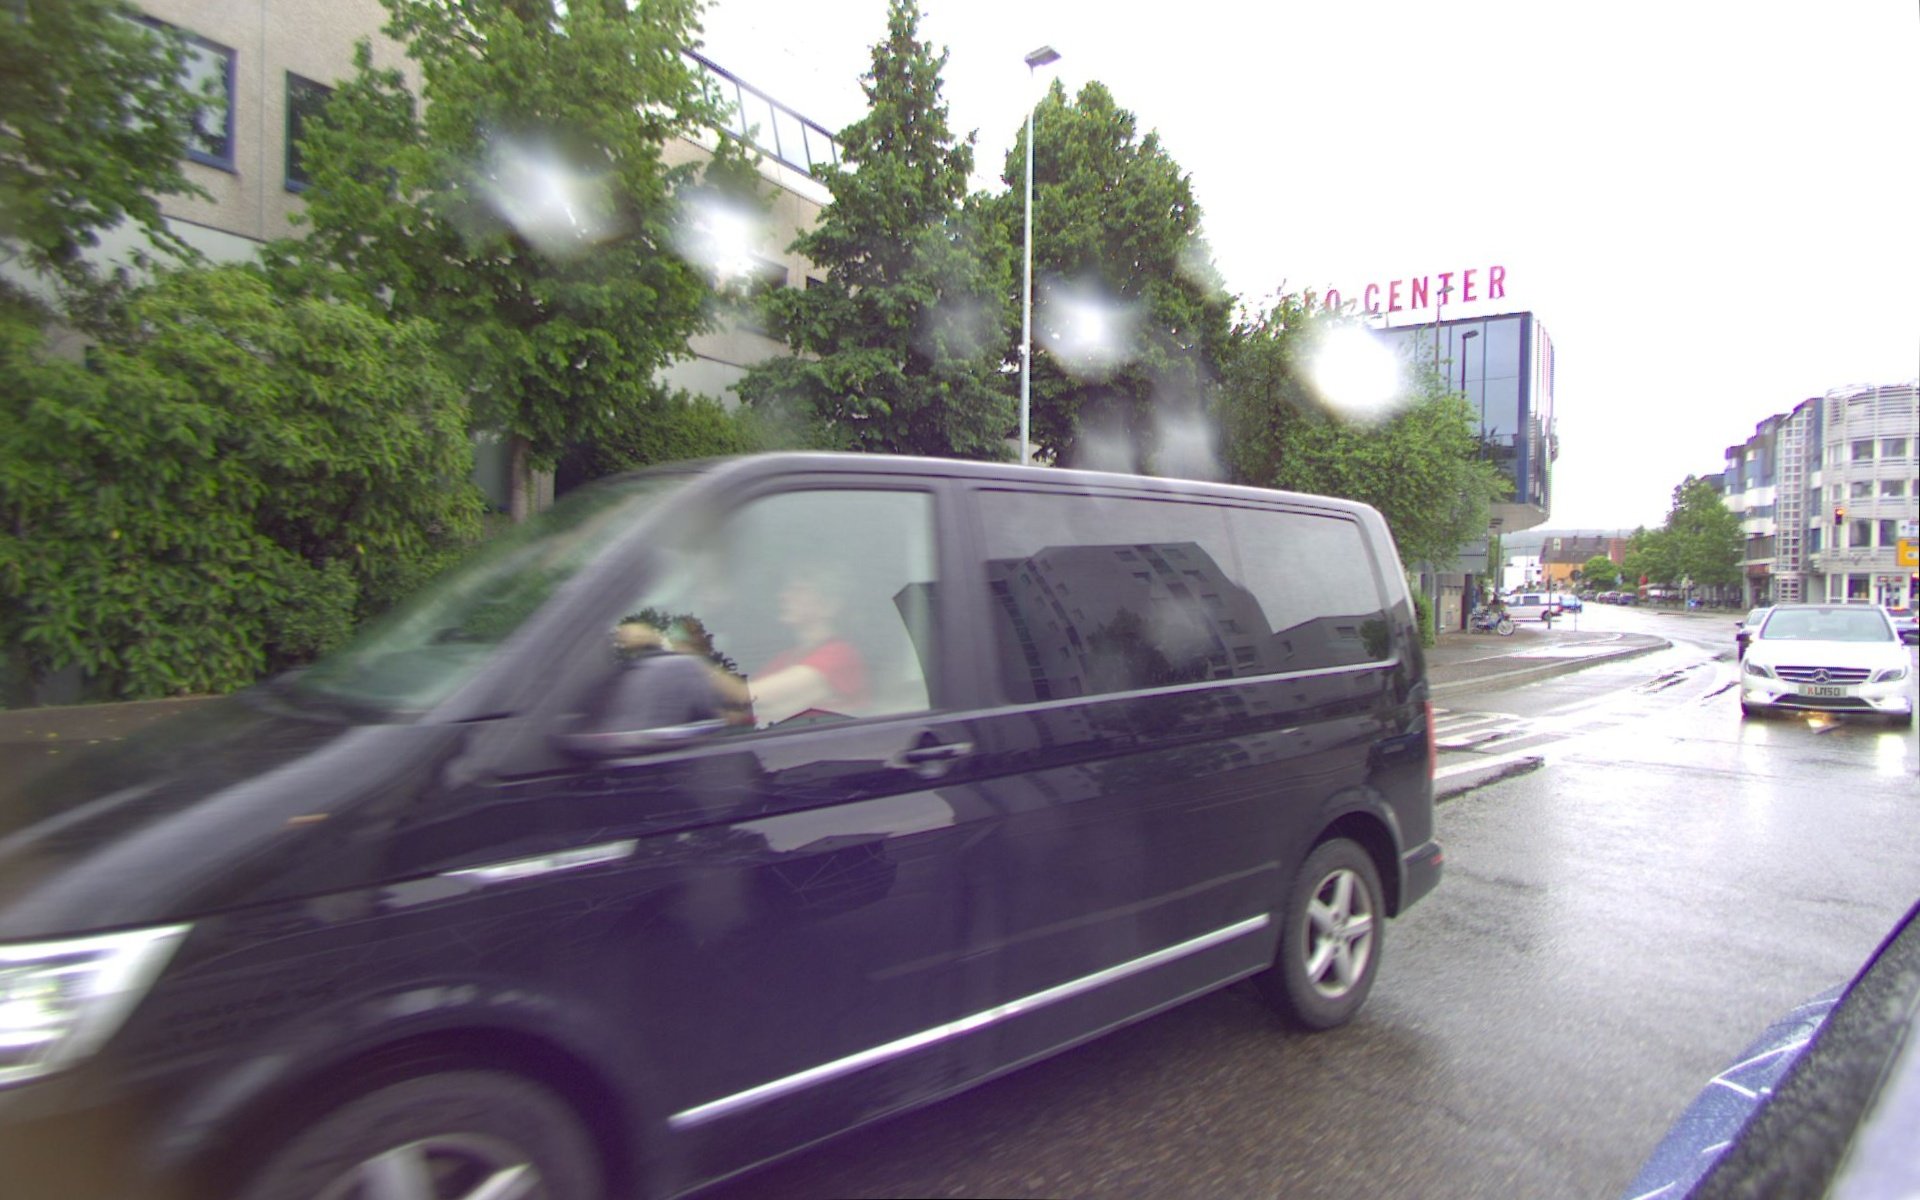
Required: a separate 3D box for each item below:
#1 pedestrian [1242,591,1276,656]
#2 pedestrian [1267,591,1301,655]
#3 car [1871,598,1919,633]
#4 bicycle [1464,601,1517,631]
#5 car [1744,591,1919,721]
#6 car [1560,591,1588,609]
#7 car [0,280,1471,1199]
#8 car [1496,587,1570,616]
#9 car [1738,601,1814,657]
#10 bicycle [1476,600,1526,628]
[{"bbox_3d":[6.604,0.517,22.397,0.532,1.382,0.412,2,1,-11],"label":"pedestrian"},{"bbox_3d":[7.215,0.509,22.520,0.532,1.382,0.412,2,1,-10],"label":"pedestrian"},{"bbox_3d":[41.091,0.663,43.781,1.749,1.470,3.956,0,0,31],"label":"car"},{"bbox_3d":[21.783,0.658,41.544,1.797,1.099,0.675,3,-4,36],"label":"bicycle"},{"bbox_3d":[12.556,0.673,14.335,4.256,1.569,1.758,0,0,-45],"label":"car"},{"bbox_3d":[55.116,-0.016,90.858,1.884,1.545,3.962,0,0,27],"label":"car"},{"bbox_3d":[-0.373,0.490,3.415,4.503,1.918,2.001,-1,0,-38],"label":"car"},{"bbox_3d":[42.389,0.083,75.026,4.547,2.039,1.984,0,0,24],"label":"car"},{"bbox_3d":[23.604,0.792,29.233,1.626,1.509,3.783,0,0,40],"label":"car"},{"bbox_3d":[23.586,0.593,44.144,1.825,1.124,0.685,3,2,37],"label":"bicycle"}]
